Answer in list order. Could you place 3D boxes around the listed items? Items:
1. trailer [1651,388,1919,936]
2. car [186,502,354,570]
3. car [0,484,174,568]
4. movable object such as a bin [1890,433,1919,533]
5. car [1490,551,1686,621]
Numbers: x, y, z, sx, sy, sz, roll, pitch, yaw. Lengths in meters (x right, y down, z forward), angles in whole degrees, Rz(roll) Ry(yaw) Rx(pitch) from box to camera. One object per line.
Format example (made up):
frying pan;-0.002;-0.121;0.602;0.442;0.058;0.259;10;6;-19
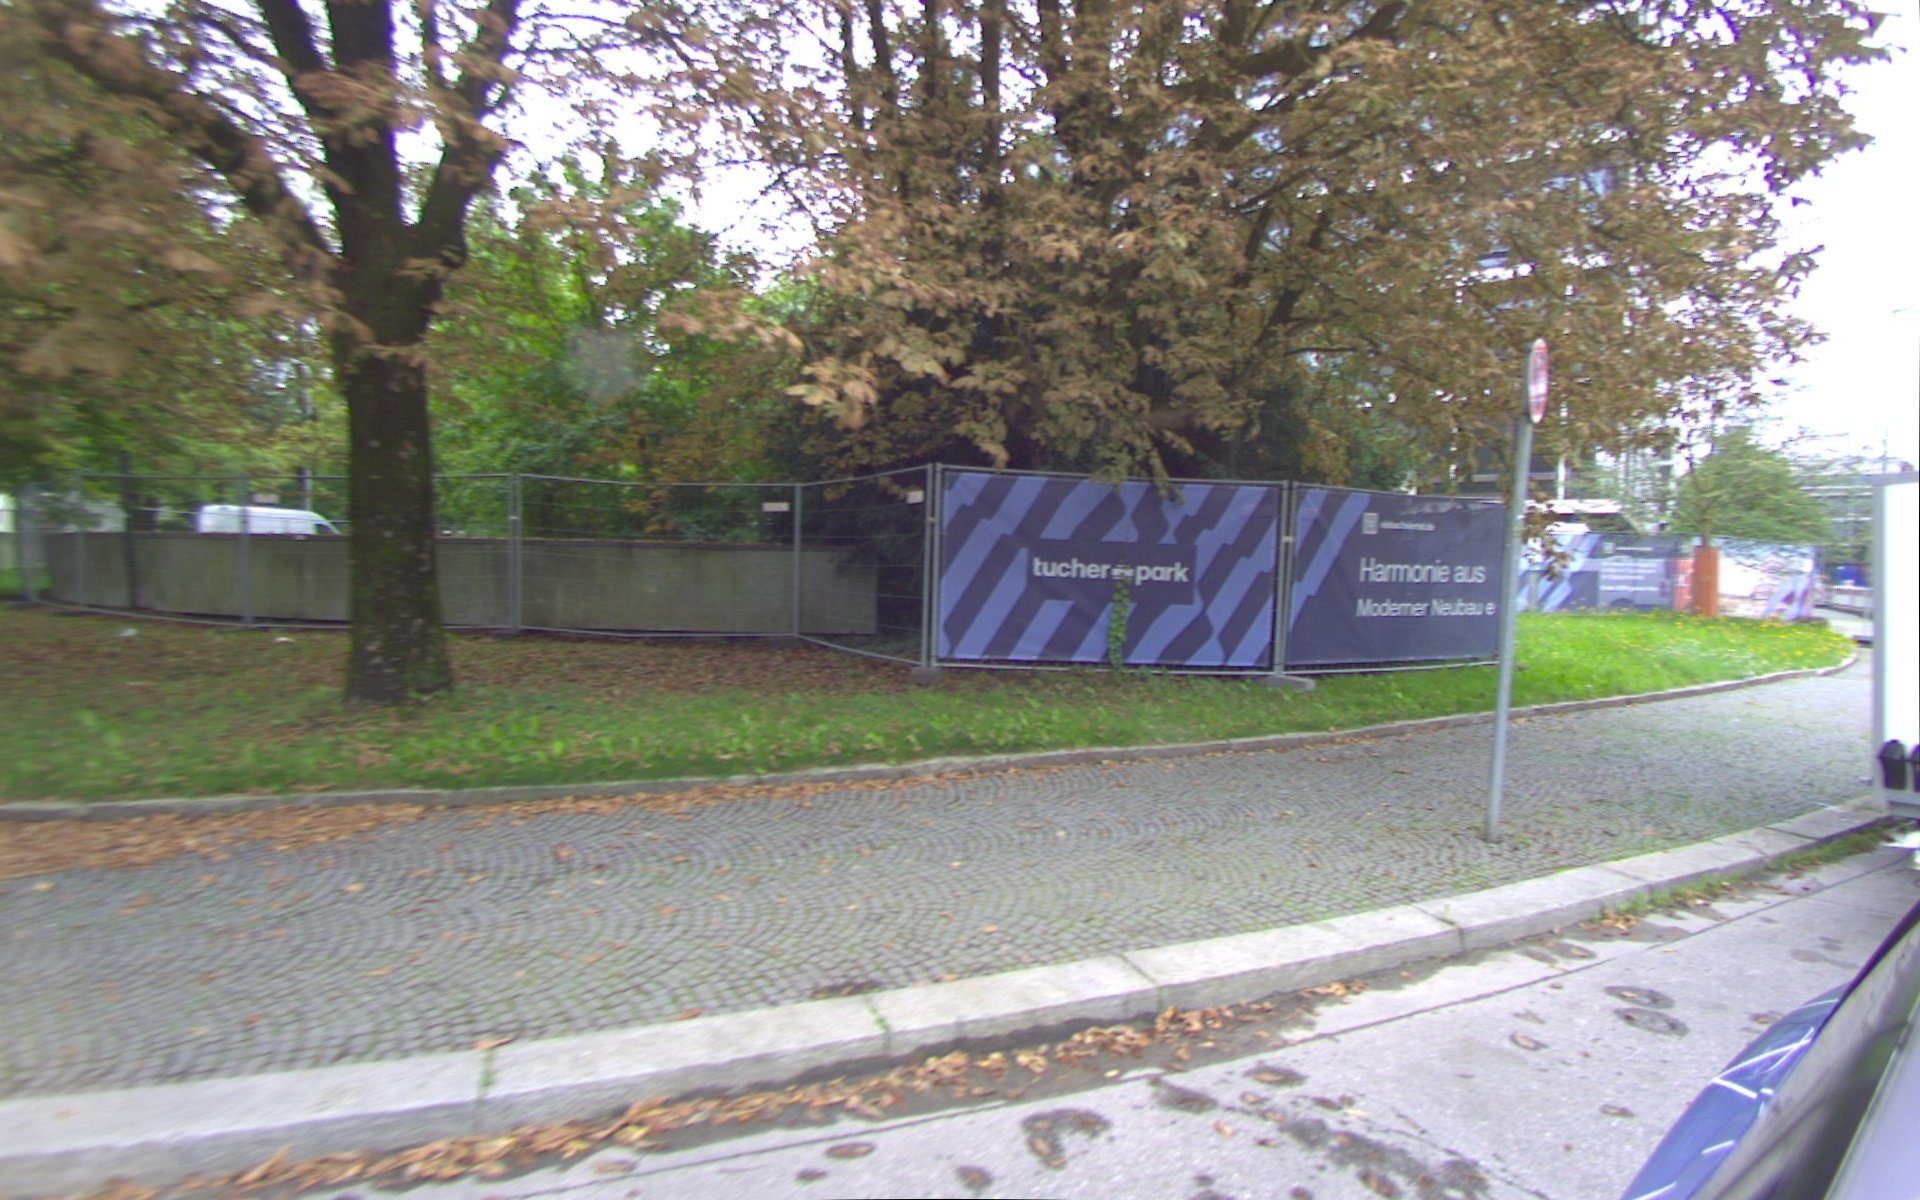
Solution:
trailer;5.698;0.205;4.818;4.734;2.038;1.818;-1;3;-26
car;-28.378;-2.564;41.826;2.063;2.612;5.391;3;3;34
car;-31.806;-2.582;36.175;2.063;2.767;5.528;3;3;34
movable object such as a bin;40.585;-4.711;40.972;3.233;3.762;8.891;2;3;36
car;18.628;-0.475;30.123;4.752;1.945;1.973;2;2;38
